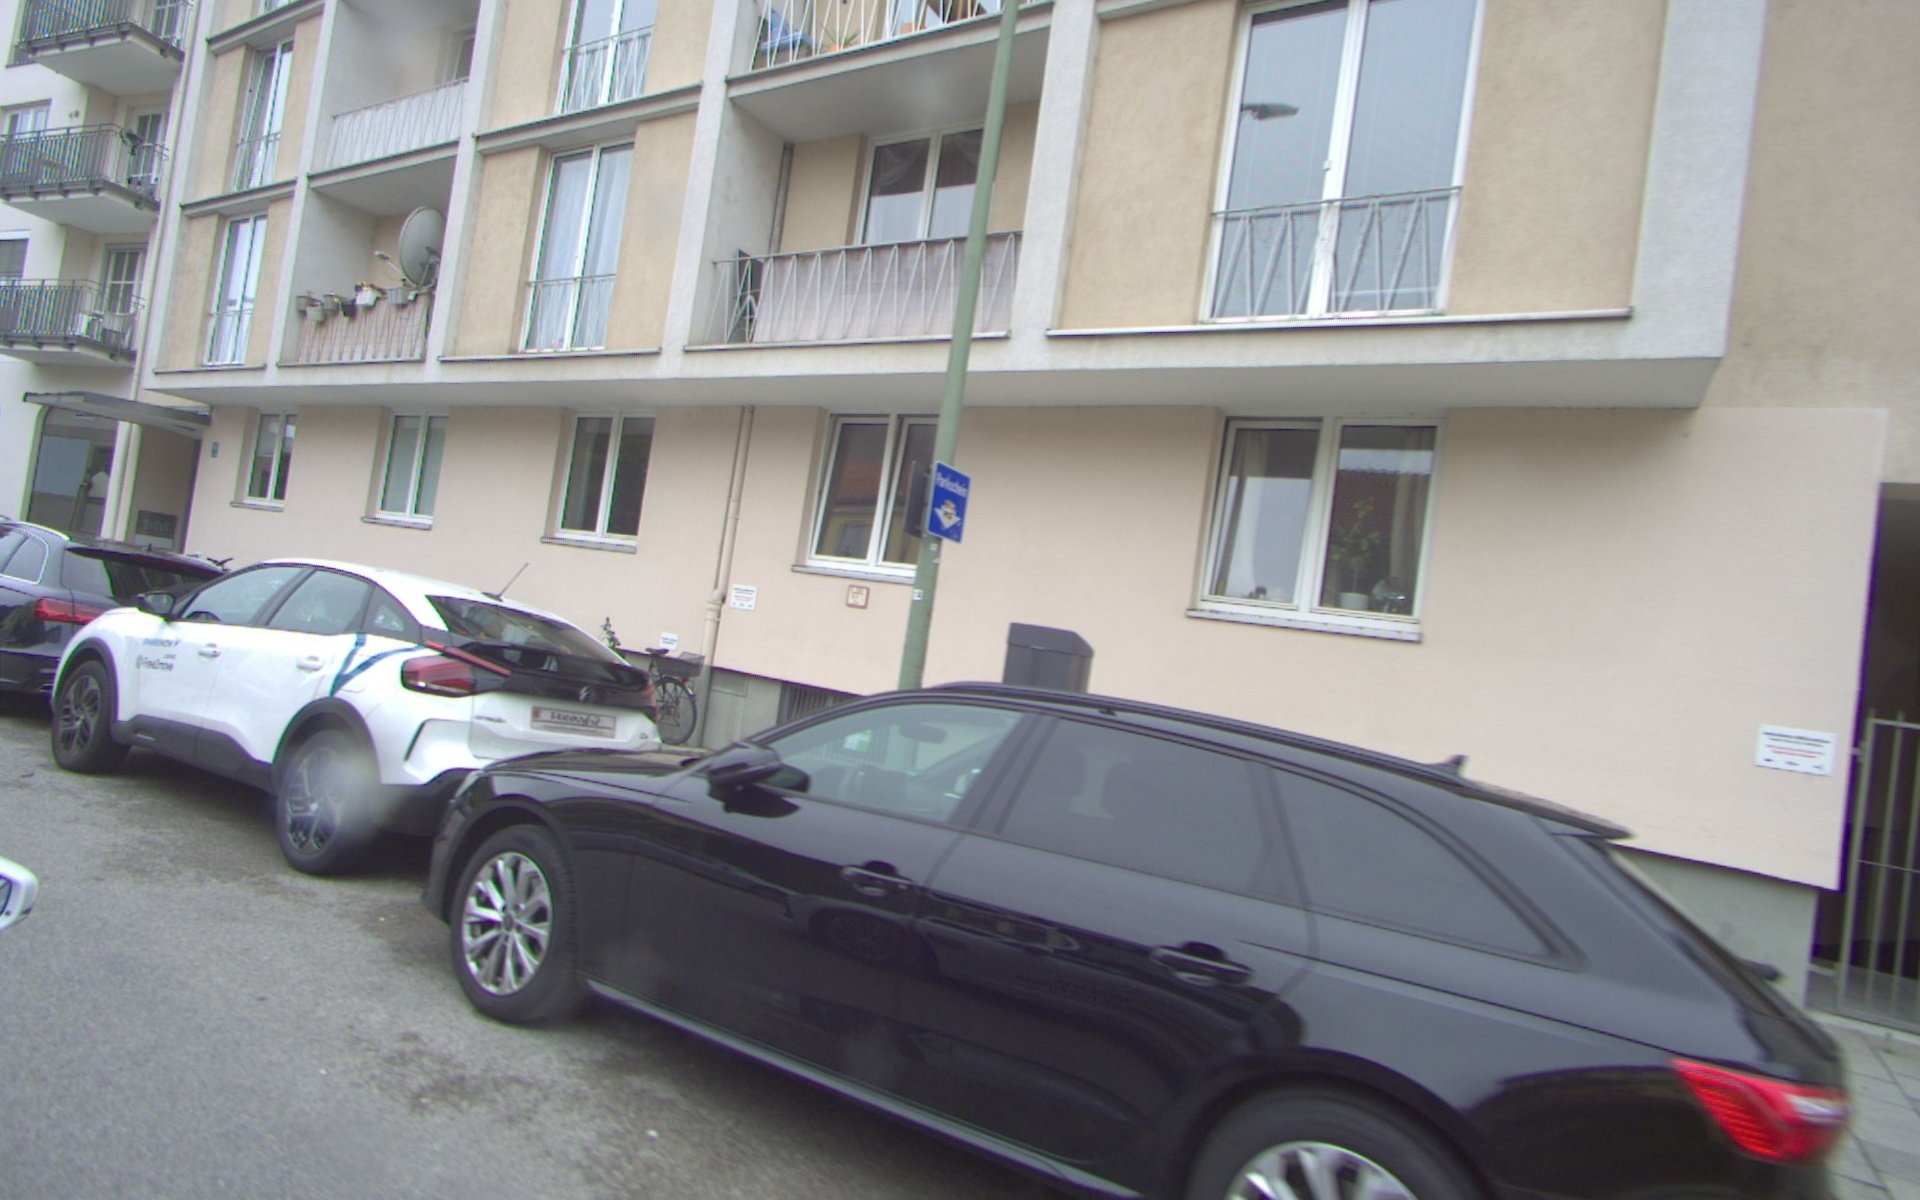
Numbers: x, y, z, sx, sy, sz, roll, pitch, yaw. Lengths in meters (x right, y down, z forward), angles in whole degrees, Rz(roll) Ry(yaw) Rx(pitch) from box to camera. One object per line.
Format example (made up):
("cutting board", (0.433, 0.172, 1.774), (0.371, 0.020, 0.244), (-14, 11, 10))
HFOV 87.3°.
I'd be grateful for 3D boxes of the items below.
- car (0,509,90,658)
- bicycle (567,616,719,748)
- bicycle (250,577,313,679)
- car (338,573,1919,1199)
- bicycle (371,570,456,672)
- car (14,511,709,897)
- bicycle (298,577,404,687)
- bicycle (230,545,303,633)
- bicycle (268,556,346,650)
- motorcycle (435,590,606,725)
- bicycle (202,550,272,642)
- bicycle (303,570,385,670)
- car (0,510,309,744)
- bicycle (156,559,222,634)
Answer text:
("car", (-12.442, -0.508, 11.688), (4.227, 1.537, 1.785), (8, -6, 26))
("bicycle", (-3.405, 0.856, 10.766), (1.574, 1.171, 0.514), (7, 0, 30))
("bicycle", (-9.124, 0.359, 13.514), (0.395, 1.217, 1.547), (4, 2, -43))
("car", (0.081, 0.965, 3.443), (4.416, 1.395, 1.833), (7, -4, 32))
("bicycle", (-7.262, 0.266, 13.344), (1.321, 1.217, 0.392), (6, 2, 37))
("car", (-3.765, 0.517, 6.215), (4.050, 1.482, 1.710), (7, -6, 29))
("bicycle", (-7.642, 0.392, 12.606), (1.347, 1.217, 0.447), (6, 2, 29))
("bicycle", (-10.590, -0.182, 15.349), (1.373, 1.217, 0.446), (6, 2, 38))
("bicycle", (-9.426, 0.027, 14.501), (1.373, 1.217, 0.446), (6, 2, 38))
("motorcycle", (-5.127, 0.646, 11.680), (2.006, 1.286, 0.636), (7, 0, 30))
("bicycle", (-10.511, -0.065, 14.614), (1.263, 1.217, 0.412), (6, 2, 38))
("bicycle", (-8.333, 0.259, 13.594), (1.264, 1.217, 0.417), (6, 2, 35))
("car", (-7.929, 0.072, 8.779), (4.615, 1.442, 1.780), (7, -7, 32))
("bicycle", (-12.851, -0.061, 16.755), (1.324, 1.115, 0.369), (6, 2, 32))
